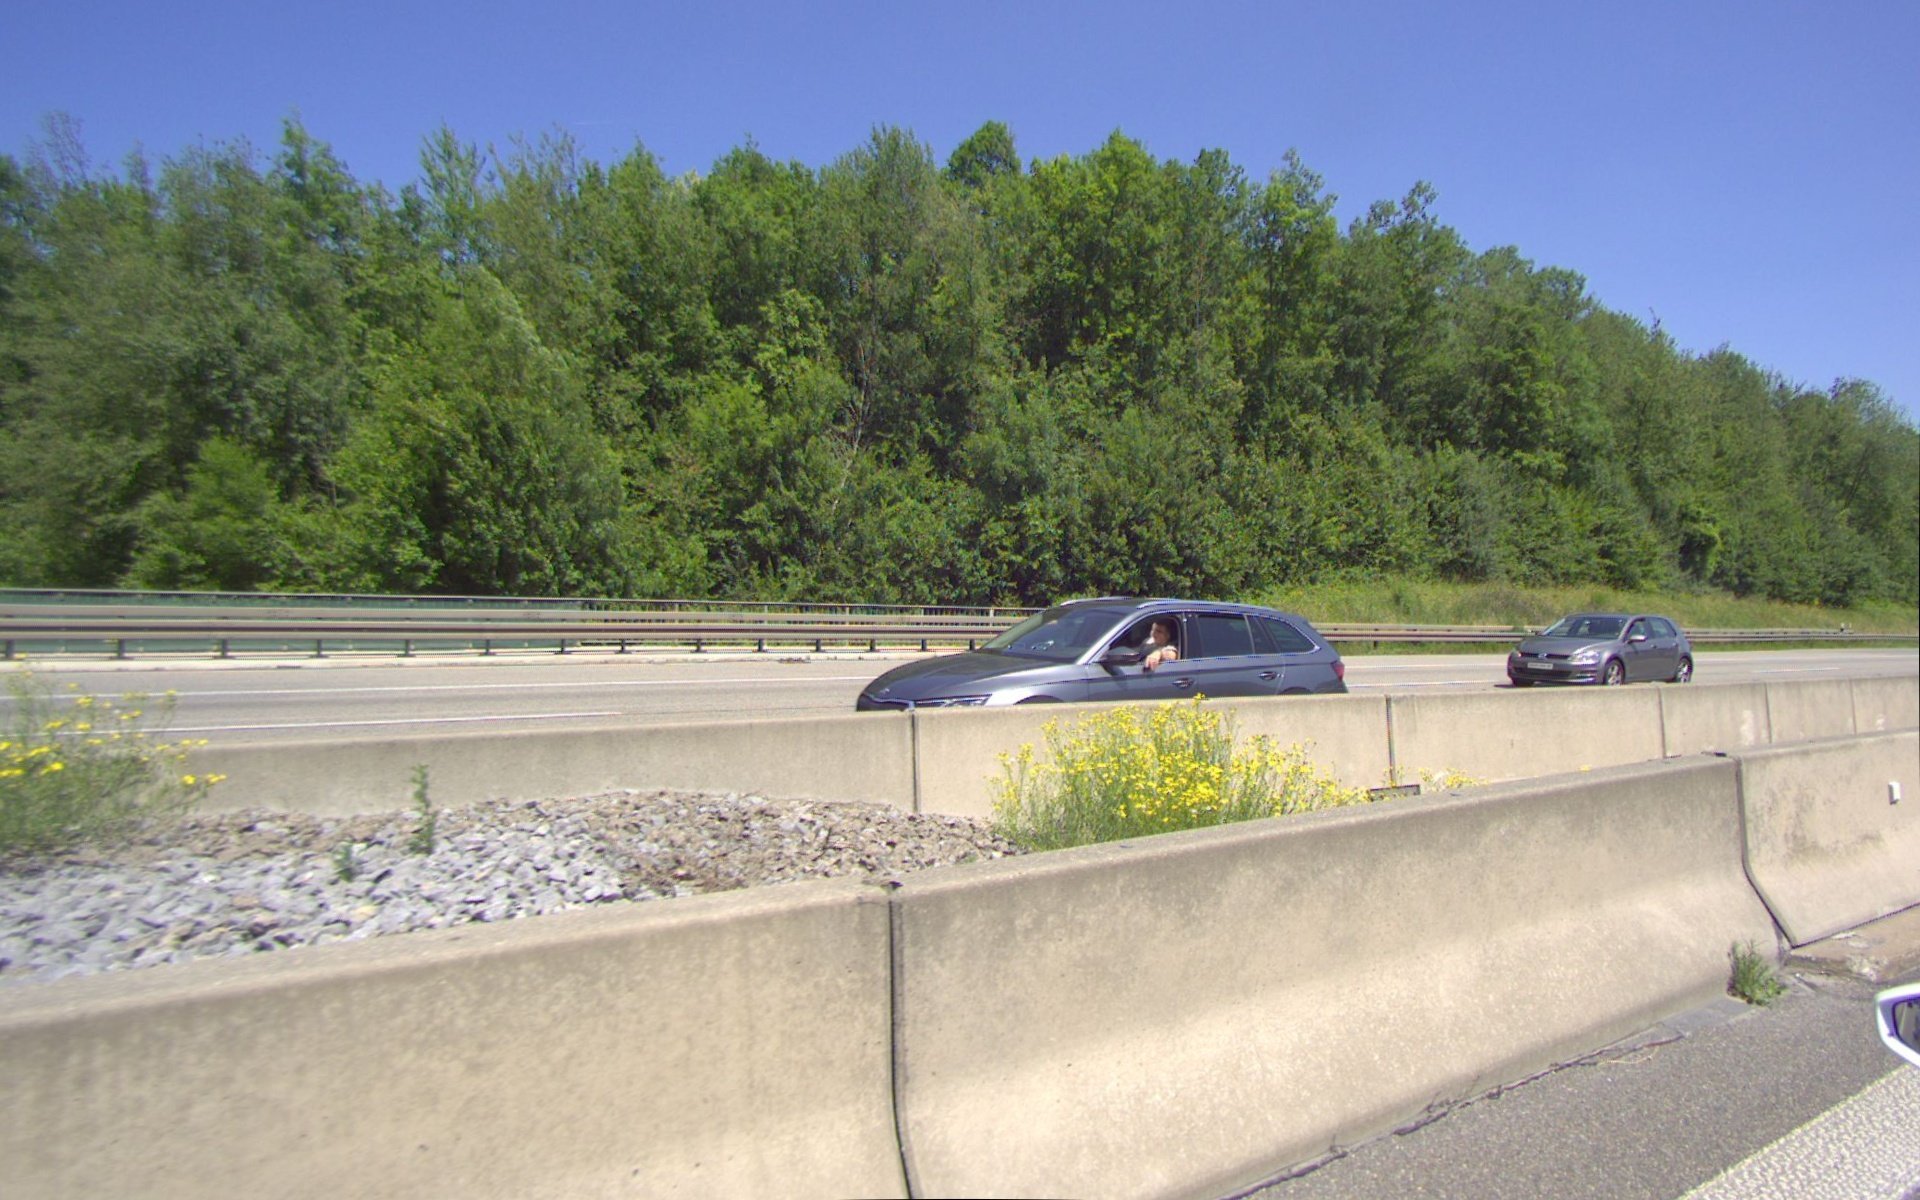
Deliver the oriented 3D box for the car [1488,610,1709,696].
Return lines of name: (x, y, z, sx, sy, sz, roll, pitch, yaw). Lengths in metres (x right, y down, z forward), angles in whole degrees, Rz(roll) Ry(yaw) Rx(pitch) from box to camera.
car: (12.183, 0.960, 19.110, 4.184, 1.439, 1.833, 1, 0, -30)

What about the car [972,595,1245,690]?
car: (2.708, 0.727, 18.060, 4.635, 1.500, 1.984, 1, 0, -30)

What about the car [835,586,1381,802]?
car: (1.385, 0.672, 8.547, 4.559, 1.424, 1.722, 1, -1, -31)
